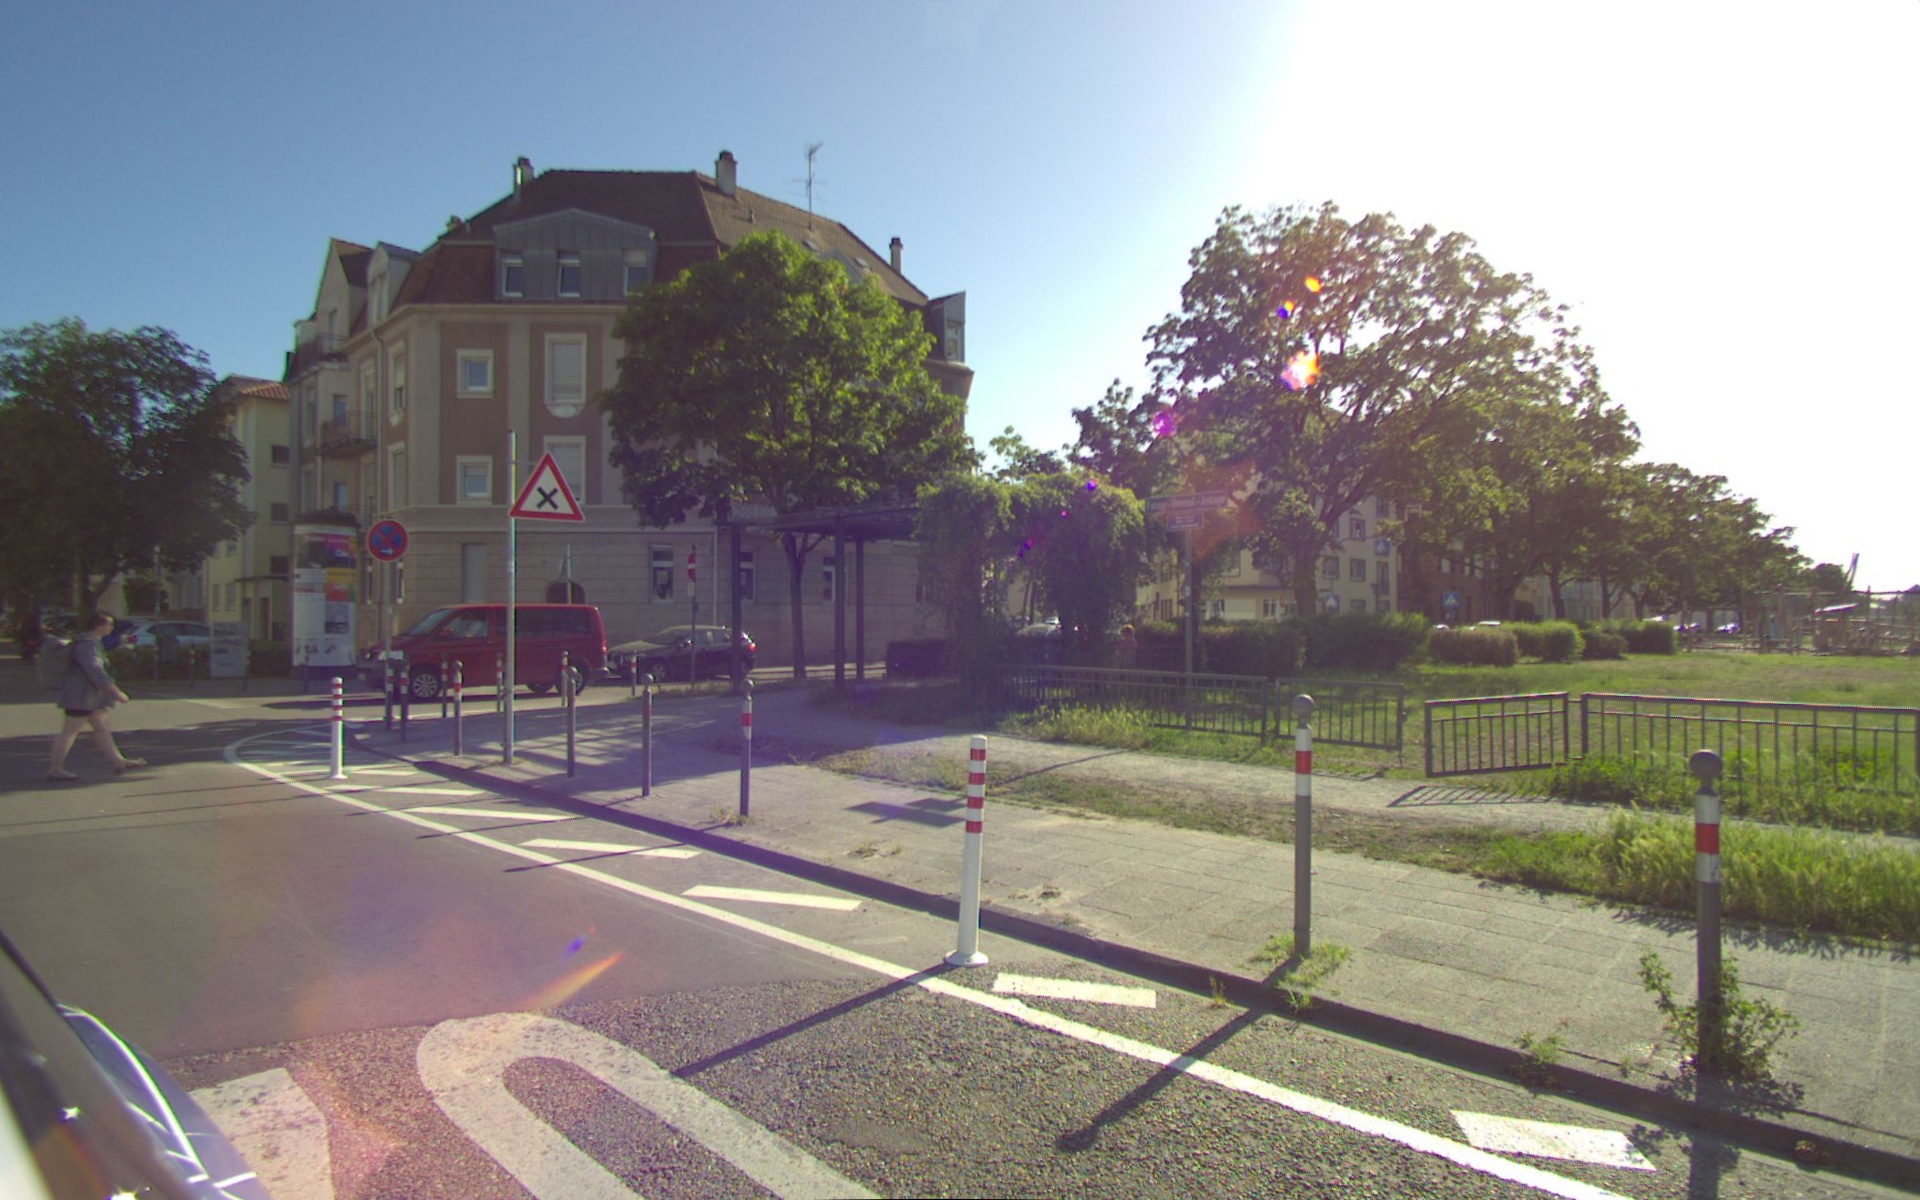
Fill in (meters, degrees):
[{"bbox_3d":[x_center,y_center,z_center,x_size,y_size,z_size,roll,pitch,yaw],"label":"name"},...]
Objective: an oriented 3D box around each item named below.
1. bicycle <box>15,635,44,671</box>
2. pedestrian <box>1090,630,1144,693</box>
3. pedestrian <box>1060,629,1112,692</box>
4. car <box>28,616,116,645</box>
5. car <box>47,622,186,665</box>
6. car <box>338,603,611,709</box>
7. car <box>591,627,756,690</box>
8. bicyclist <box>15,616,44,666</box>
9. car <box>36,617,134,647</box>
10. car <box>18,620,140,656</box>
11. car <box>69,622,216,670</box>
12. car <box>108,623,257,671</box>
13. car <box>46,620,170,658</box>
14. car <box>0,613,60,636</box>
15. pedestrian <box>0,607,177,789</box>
[{"bbox_3d":[-30.676,1.730,33.352,0.635,1.117,2.066,2,-2,-45],"label":"bicycle"},{"bbox_3d":[2.920,1.124,18.816,0.862,1.147,0.599,2,-2,-45],"label":"pedestrian"},{"bbox_3d":[2.409,1.136,19.268,0.833,1.158,0.599,2,-2,-45],"label":"pedestrian"},{"bbox_3d":[-49.711,1.677,56.670,1.690,1.506,3.484,-1,-1,39],"label":"car"},{"bbox_3d":[-32.079,1.604,38.589,1.686,1.506,3.751,-1,-1,31],"label":"car"},{"bbox_3d":[-10.111,1.102,21.367,1.898,1.975,4.815,1,-1,44],"label":"car"},{"bbox_3d":[-7.791,1.540,27.807,1.867,1.494,3.960,3,1,41],"label":"car"},{"bbox_3d":[-30.662,1.350,33.348,0.635,1.632,0.637,2,-2,-45],"label":"bicyclist"},{"bbox_3d":[-46.450,1.673,53.773,1.690,1.506,3.742,-1,-1,39],"label":"car"},{"bbox_3d":[-38.928,1.645,44.781,1.686,1.506,3.751,-1,-1,31],"label":"car"},{"bbox_3d":[-28.304,1.543,35.117,1.691,1.506,3.739,-1,-1,41],"label":"car"},{"bbox_3d":[-26.191,1.538,34.168,1.691,1.455,3.739,-1,-1,41],"label":"car"},{"bbox_3d":[-36.273,1.630,43.178,1.686,1.506,3.751,-1,-1,31],"label":"car"},{"bbox_3d":[-72.950,1.910,79.259,1.692,1.716,3.481,-1,-1,42],"label":"car"},{"bbox_3d":[-8.684,0.934,10.078,0.909,1.687,1.080,-1,-3,27],"label":"pedestrian"}]
